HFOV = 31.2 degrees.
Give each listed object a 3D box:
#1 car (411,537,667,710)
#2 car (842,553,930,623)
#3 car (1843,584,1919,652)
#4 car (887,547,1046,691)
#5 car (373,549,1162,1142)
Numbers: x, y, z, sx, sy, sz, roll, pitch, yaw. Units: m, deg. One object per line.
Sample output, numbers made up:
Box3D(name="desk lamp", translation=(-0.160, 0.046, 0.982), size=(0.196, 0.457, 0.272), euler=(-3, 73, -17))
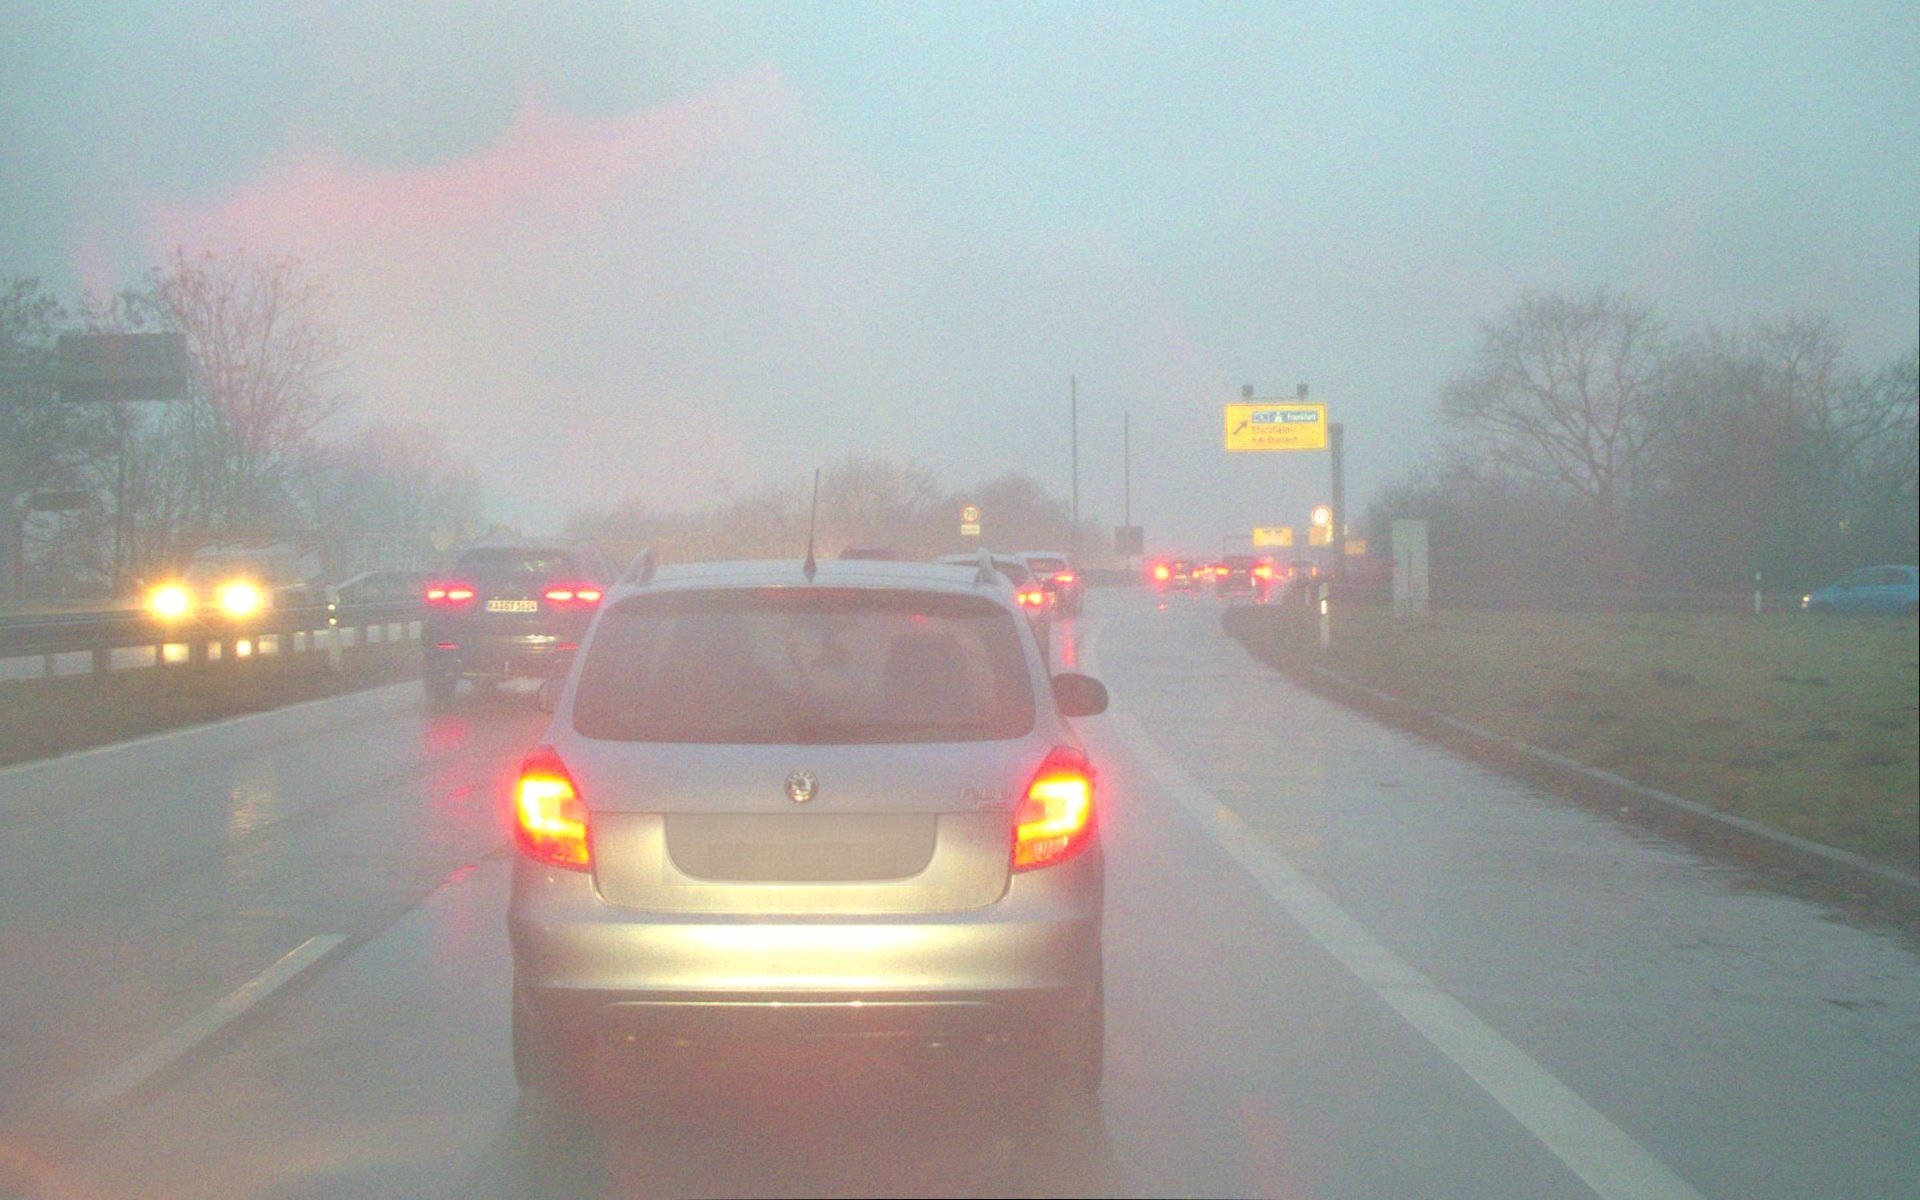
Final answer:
Box3D(name="car", translation=(-4.186, 0.192, 34.851), size=(1.993, 1.596, 4.308), euler=(1, 1, 0))
Box3D(name="car", translation=(-1.686, -0.290, 79.583), size=(1.789, 1.540, 4.000), euler=(-1, 1, 2))
Box3D(name="car", translation=(22.676, 0.406, 79.583), size=(3.993, 1.540, 1.792), euler=(0, 1, 29))
Box3D(name="car", translation=(0.129, 0.209, 44.814), size=(1.897, 1.761, 4.308), euler=(-1, 1, 2))
Box3D(name="car", translation=(-0.449, 0.611, 10.775), size=(1.993, 1.495, 4.137), euler=(0, 0, 1))
